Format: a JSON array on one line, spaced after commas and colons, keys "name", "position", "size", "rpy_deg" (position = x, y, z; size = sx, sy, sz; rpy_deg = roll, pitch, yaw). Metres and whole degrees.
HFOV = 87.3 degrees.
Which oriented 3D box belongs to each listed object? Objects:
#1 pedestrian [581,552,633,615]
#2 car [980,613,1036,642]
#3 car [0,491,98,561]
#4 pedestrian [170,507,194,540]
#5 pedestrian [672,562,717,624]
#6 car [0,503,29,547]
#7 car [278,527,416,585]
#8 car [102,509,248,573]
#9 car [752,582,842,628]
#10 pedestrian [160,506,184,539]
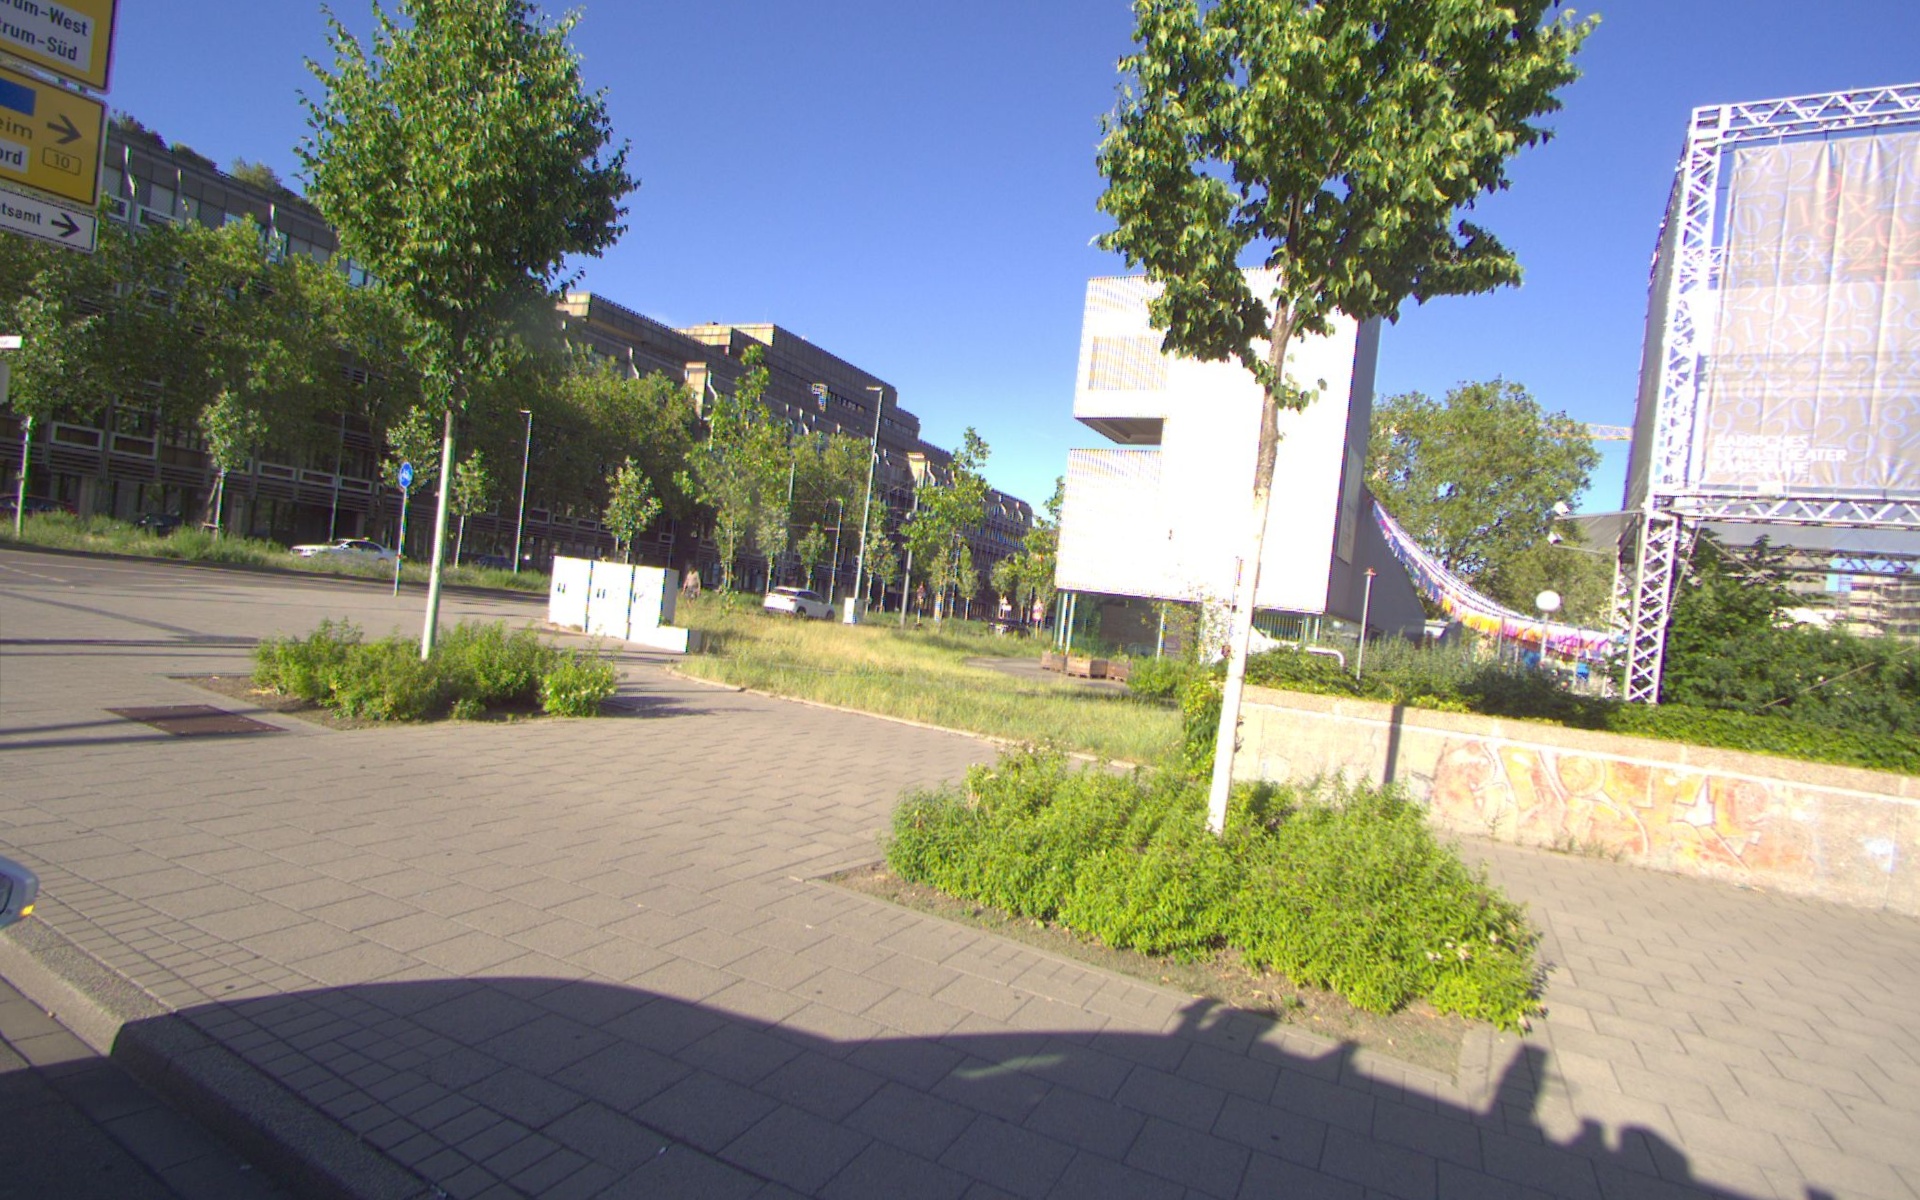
[{"name": "pedestrian", "position": [-10.057, -0.455, 28.677], "size": [0.925, 1.650, 0.803], "rpy_deg": [7, 1, 18]}, {"name": "car", "position": [3.493, 1.989, 72.061], "size": [1.965, 1.621, 4.949], "rpy_deg": [8, 0, 27]}, {"name": "car", "position": [-33.314, -2.709, 35.367], "size": [1.966, 2.036, 3.997], "rpy_deg": [6, -2, 29]}, {"name": "pedestrian", "position": [-42.785, -4.197, 55.341], "size": [0.728, 1.678, 0.665], "rpy_deg": [7, 1, 25]}, {"name": "pedestrian", "position": [-8.142, -0.211, 30.877], "size": [0.925, 1.750, 0.695], "rpy_deg": [7, 1, 18]}, {"name": "car", "position": [-37.244, -3.041, 36.938], "size": [1.836, 1.525, 3.997], "rpy_deg": [7, -2, 29]}, {"name": "car", "position": [-30.676, -2.179, 50.578], "size": [2.062, 2.036, 5.455], "rpy_deg": [6, -2, 29]}, {"name": "car", "position": [-34.112, -2.527, 43.875], "size": [1.965, 2.036, 4.458], "rpy_deg": [7, -2, 27]}, {"name": "car", "position": [-7.670, 0.266, 47.871], "size": [1.964, 1.680, 4.403], "rpy_deg": [8, 0, 24]}, {"name": "pedestrian", "position": [-43.565, -4.289, 55.641], "size": [0.728, 1.678, 0.665], "rpy_deg": [7, 1, 25]}]
